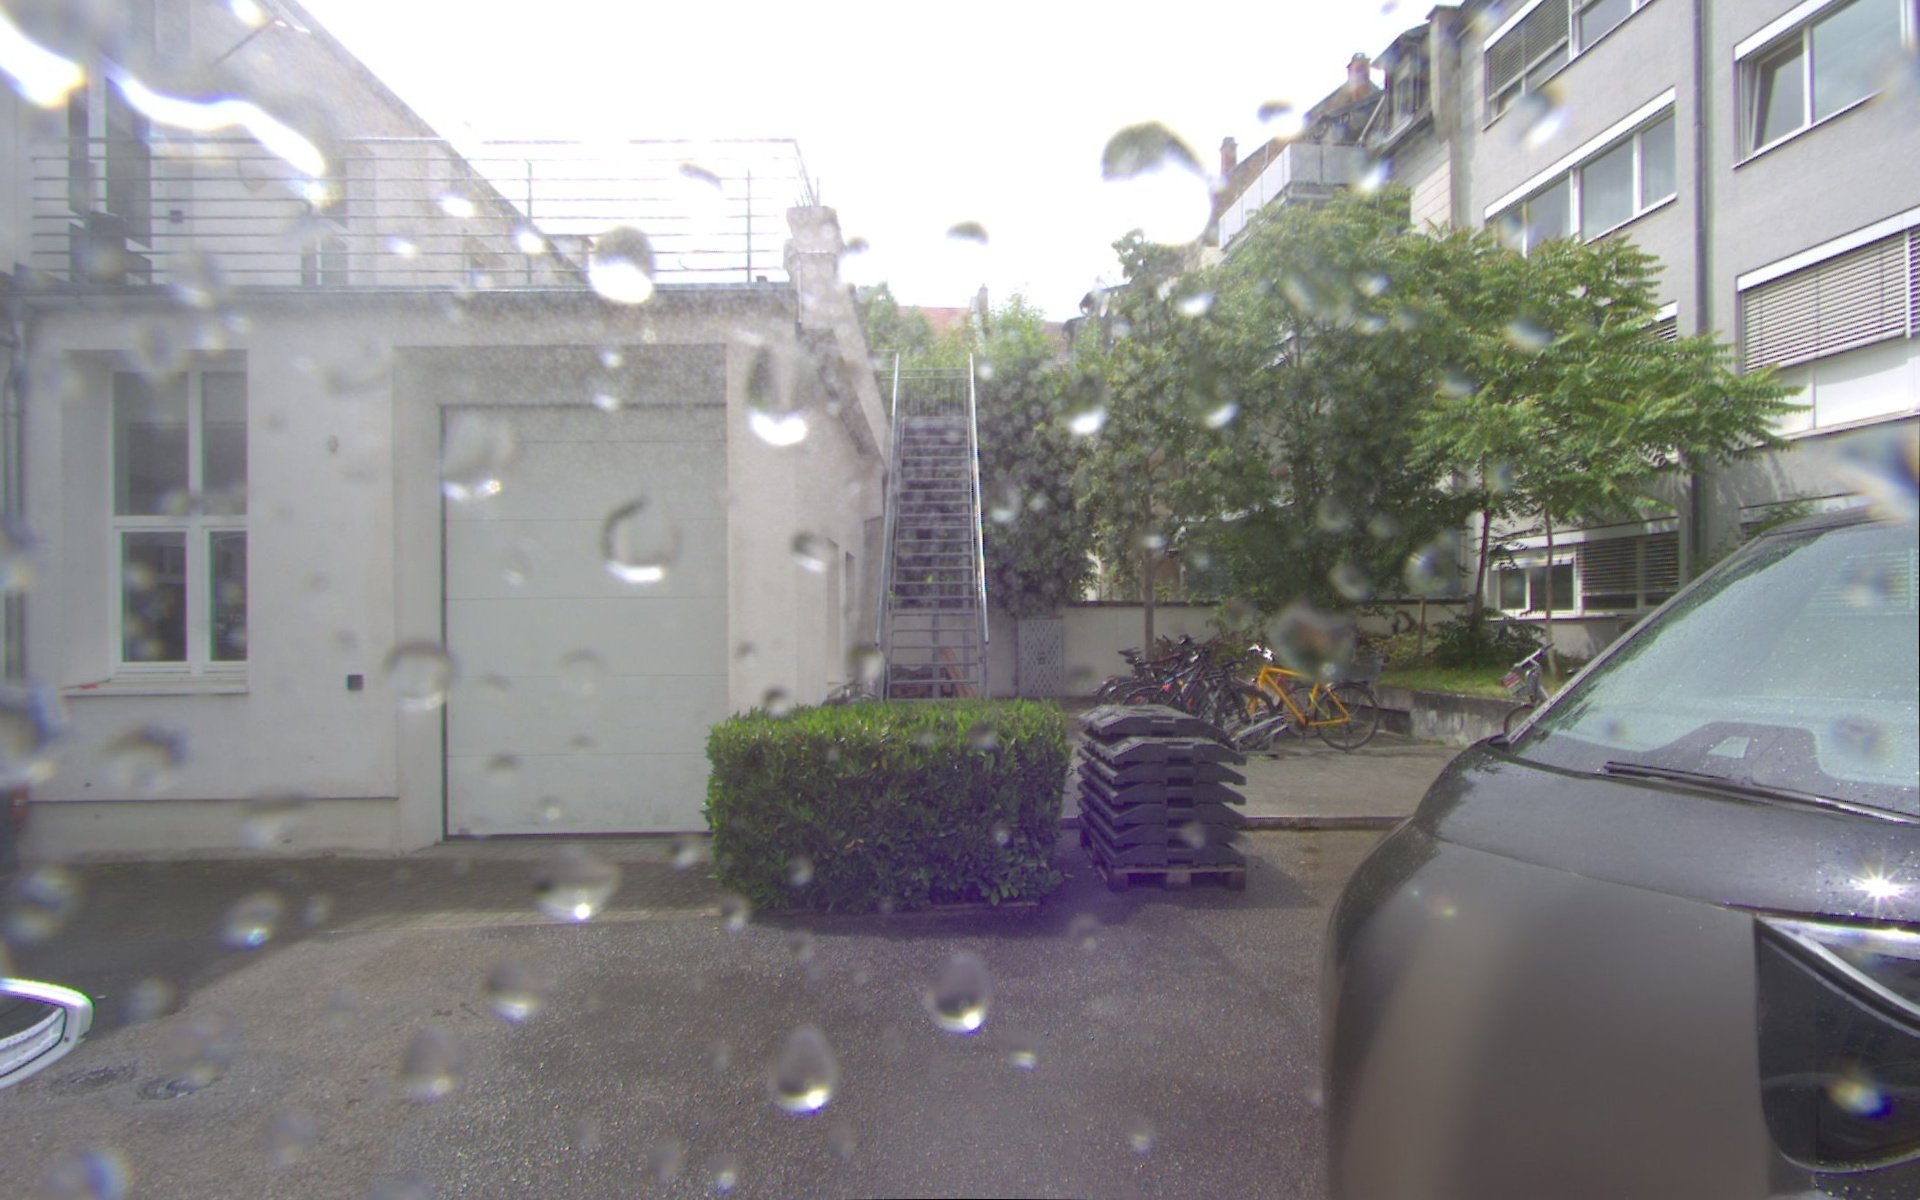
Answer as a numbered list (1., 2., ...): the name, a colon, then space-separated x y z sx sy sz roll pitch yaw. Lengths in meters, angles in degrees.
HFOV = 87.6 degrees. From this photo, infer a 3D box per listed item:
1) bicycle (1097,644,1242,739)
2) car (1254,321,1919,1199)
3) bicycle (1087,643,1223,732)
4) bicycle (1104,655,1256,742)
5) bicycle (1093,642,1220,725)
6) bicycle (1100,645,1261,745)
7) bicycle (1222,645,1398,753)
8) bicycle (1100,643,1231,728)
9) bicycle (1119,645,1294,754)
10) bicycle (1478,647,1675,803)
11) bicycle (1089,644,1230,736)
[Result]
1. bicycle: 2.562 1.104 12.249 1.722 1.118 0.333 0 0 -7
2. car: 3.312 0.603 2.242 4.657 1.889 1.970 -1 -1 -8
3. bicycle: 2.539 1.132 13.088 1.722 1.118 0.345 0 0 -7
4. bicycle: 2.616 1.161 11.909 1.762 0.980 0.330 0 0 -7
5. bicycle: 2.740 1.162 13.998 1.722 1.118 0.342 0 0 -7
6. bicycle: 2.502 1.076 11.419 1.761 1.118 0.354 0 0 1
7. bicycle: 3.736 1.051 10.734 1.761 1.118 0.367 0 0 1
8. bicycle: 2.791 1.150 13.638 1.722 1.118 0.355 0 0 -7
9. bicycle: 2.594 1.047 10.614 1.761 1.118 0.405 0 0 1
10. bicycle: 5.173 0.995 8.544 0.438 1.118 1.796 -3 -1 -4
11. bicycle: 2.504 1.117 12.603 1.722 1.118 0.342 0 0 -7
